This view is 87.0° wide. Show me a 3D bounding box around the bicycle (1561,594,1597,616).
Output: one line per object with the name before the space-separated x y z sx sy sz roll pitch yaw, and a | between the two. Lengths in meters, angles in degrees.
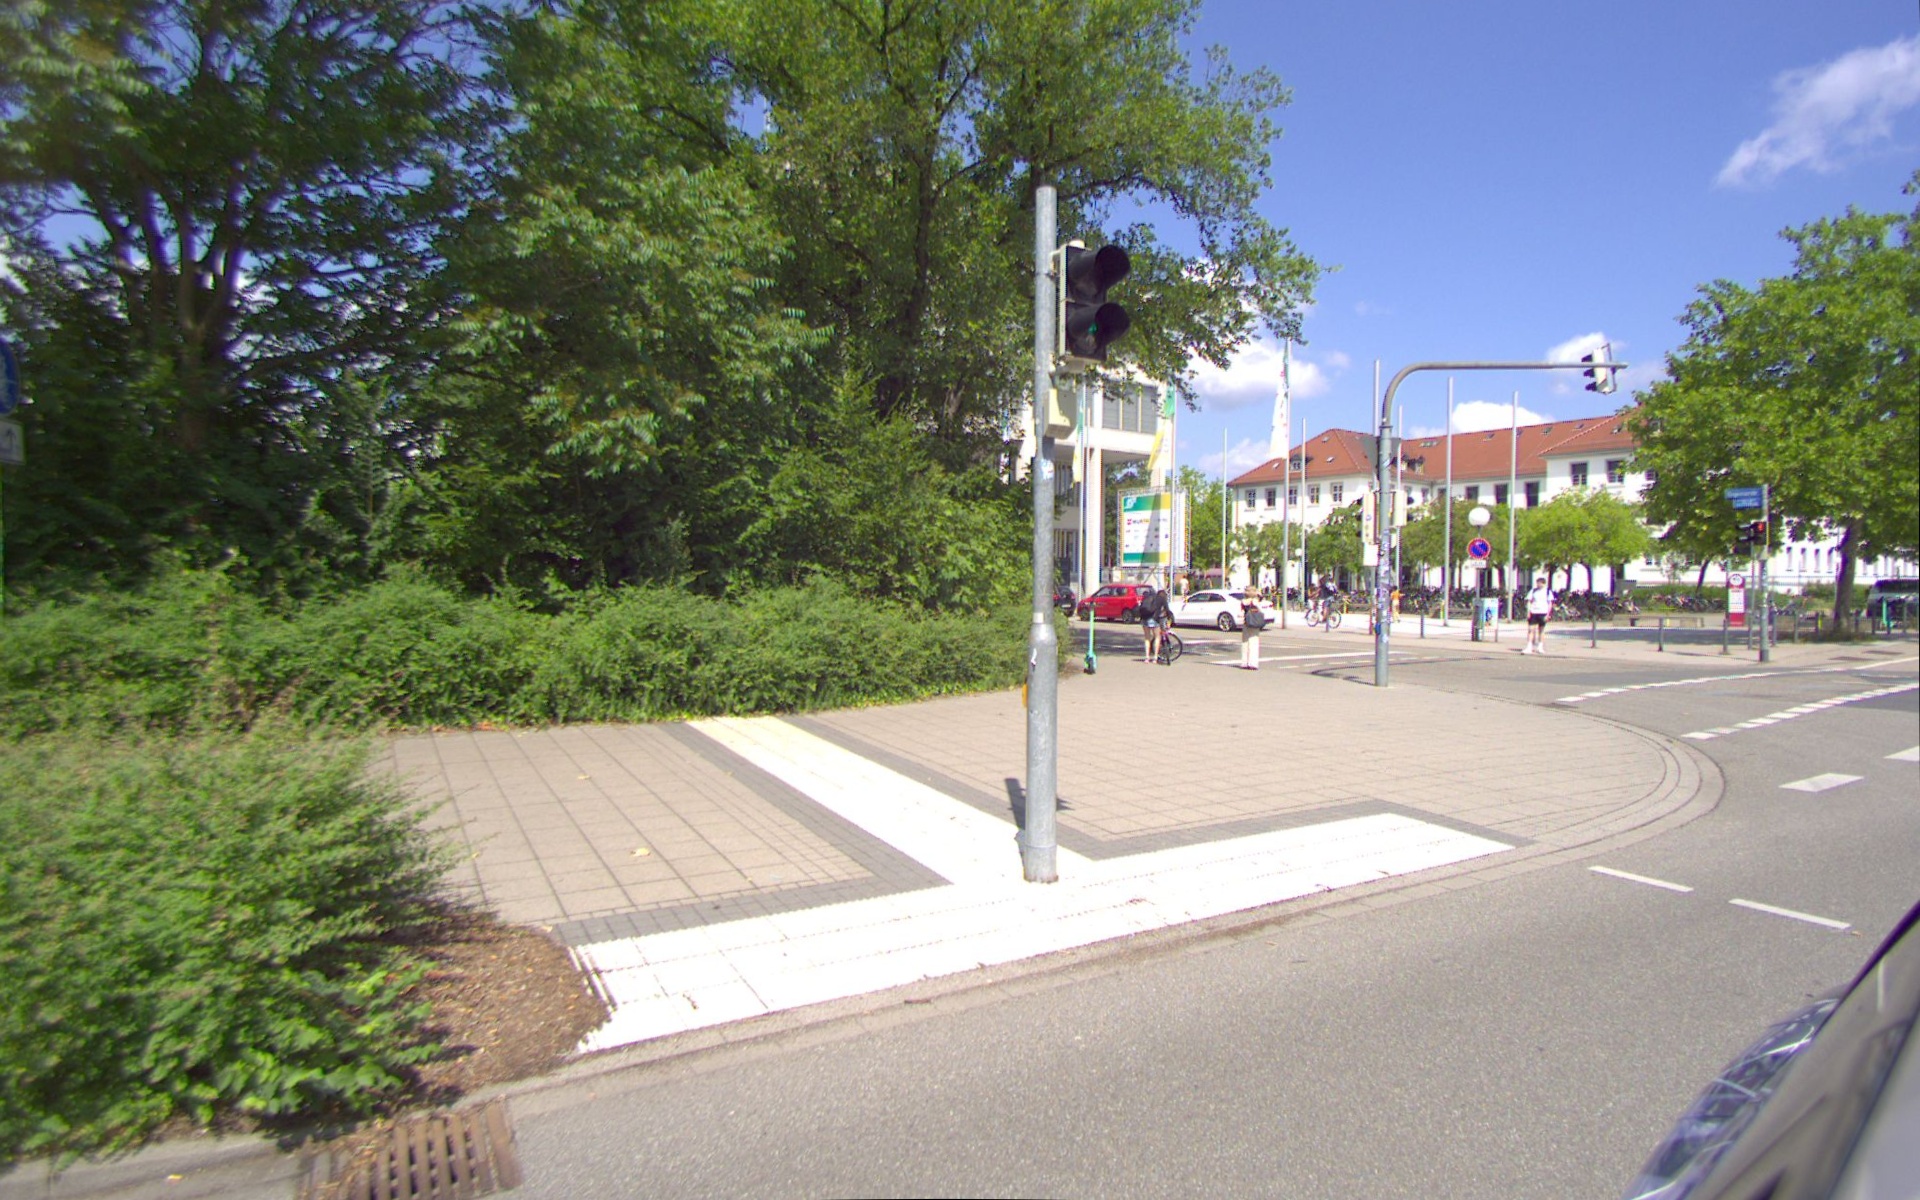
bicycle | 27.847 0.222 45.544 0.345 0.963 1.371 0 1 -37

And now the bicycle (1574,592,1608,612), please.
bicycle | 31.027 0.108 49.770 0.345 0.963 1.412 0 1 -37

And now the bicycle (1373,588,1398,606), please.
bicycle | 23.517 -0.165 55.953 0.345 0.963 1.374 0 1 -28

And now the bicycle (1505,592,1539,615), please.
bicycle | 26.195 0.152 47.166 0.345 1.013 1.371 0 1 -37

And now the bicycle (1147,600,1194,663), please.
bicycle | 4.133 0.597 19.987 0.660 1.157 1.661 3 0 4

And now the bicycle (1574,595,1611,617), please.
bicycle | 28.513 0.262 45.610 0.345 0.963 1.371 0 1 -37

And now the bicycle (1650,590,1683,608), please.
bicycle | 38.546 -0.048 55.219 0.345 0.963 1.428 0 1 -37

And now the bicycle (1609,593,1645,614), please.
bicycle | 31.852 0.141 48.333 0.345 0.963 1.371 0 1 -37

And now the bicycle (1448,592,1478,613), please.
bicycle | 24.523 0.117 49.379 0.345 0.963 1.374 0 1 -28

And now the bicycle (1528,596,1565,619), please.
bicycle | 25.910 0.314 44.718 0.345 0.963 1.371 0 1 -37

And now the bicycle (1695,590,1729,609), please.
bicycle | 39.941 -0.015 53.761 0.345 0.963 1.428 0 1 -37

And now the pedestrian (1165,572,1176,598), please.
pedestrian | 15.733 -1.149 75.582 0.668 1.926 0.796 0 1 24

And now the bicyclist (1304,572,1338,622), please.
bicyclist | 13.753 -0.124 38.544 0.670 1.877 1.090 0 1 -20

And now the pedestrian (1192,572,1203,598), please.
pedestrian | 17.571 -1.129 74.753 0.668 1.926 0.796 0 1 24

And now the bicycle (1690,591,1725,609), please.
bicycle | 39.461 -0.006 53.454 0.345 0.963 1.428 0 1 -37

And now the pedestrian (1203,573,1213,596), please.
pedestrian | 21.114 -1.342 86.172 0.668 1.926 0.796 0 1 24

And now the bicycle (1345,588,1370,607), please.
bicycle | 21.129 -0.129 53.818 0.345 0.963 1.374 0 1 -28

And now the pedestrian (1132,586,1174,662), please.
pedestrian | 3.802 0.448 19.938 0.644 1.435 0.787 3 1 4

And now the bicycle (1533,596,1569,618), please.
bicycle | 26.323 0.312 45.109 0.345 0.958 1.371 0 1 -37

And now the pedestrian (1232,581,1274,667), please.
pedestrian | 5.657 0.449 19.571 0.634 1.647 0.635 0 0 4

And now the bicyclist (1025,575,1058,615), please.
bicyclist | 2.583 -0.159 31.978 0.830 1.241 0.609 1 1 42

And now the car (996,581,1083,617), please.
car | 3.414 -0.080 44.091 1.709 1.465 3.931 0 1 -34

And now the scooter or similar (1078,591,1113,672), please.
scooter or similar | 2.207 0.487 16.561 0.429 1.249 1.229 2 1 4

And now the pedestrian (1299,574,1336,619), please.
pedestrian | 15.259 -0.146 43.176 0.687 1.872 1.322 0 -1 -34

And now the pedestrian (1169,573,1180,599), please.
pedestrian | 16.019 -1.064 75.636 0.668 1.926 0.796 0 1 24

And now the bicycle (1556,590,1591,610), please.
bicycle | 29.650 -0.002 48.906 0.345 0.963 1.412 0 1 -37

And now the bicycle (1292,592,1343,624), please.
bicycle | 13.673 0.285 38.725 0.676 1.148 2.058 0 1 -20

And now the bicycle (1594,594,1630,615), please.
bicycle | 30.441 0.205 47.260 0.345 0.963 1.371 0 1 -37

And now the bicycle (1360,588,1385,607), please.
bicycle | 22.155 -0.142 54.374 0.345 0.963 1.374 0 1 -28

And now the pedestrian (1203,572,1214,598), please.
pedestrian | 18.514 -1.119 75.260 0.668 1.926 0.796 0 1 24

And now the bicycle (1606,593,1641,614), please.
bicycle | 31.475 0.150 48.027 0.345 0.963 1.371 0 1 -37

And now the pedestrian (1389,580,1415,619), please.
pedestrian | 19.032 -0.032 43.598 0.670 1.642 0.836 0 1 -8

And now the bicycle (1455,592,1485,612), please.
bicycle | 25.001 0.093 49.650 0.345 0.963 1.374 0 1 -28

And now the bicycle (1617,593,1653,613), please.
bicycle | 32.333 0.136 48.499 0.345 0.963 1.371 0 1 -37

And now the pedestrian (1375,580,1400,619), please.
pedestrian | 18.287 -0.030 43.320 0.671 1.642 0.836 0 1 -6

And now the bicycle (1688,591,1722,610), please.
bicycle | 39.110 0.003 53.143 0.345 0.963 1.428 0 1 -37

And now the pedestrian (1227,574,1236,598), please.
pedestrian | 17.550 -0.920 65.492 0.464 1.555 0.561 0 1 5

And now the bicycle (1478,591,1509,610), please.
bicycle | 27.528 0.039 52.251 0.346 0.963 1.370 0 1 -40

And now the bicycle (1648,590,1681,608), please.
bicycle | 38.234 -0.041 54.955 0.345 0.963 1.428 0 1 -37

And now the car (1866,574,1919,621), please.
car | 43.426 -0.139 46.574 4.154 2.080 1.997 0 1 -40

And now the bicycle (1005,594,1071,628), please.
bicycle | 2.442 0.330 32.014 2.155 1.011 0.638 1 1 42

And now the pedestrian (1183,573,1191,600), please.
pedestrian | 14.820 -0.895 66.011 0.468 1.735 0.379 0 1 25

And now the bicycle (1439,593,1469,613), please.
bicycle | 24.066 0.143 49.305 0.345 0.963 1.374 0 1 -28

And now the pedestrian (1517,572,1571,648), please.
pedestrian | 14.911 0.240 25.858 0.954 1.896 0.879 0 0 -36

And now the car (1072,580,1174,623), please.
car | 6.360 0.015 39.724 1.740 1.576 3.816 0 1 -37

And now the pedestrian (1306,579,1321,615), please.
pedestrian | 15.882 -0.136 45.525 0.529 1.610 0.435 1 0 5

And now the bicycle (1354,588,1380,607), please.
bicycle | 21.742 -0.141 54.081 0.345 0.963 1.374 0 1 -28

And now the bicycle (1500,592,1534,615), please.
bicycle | 25.791 0.168 46.873 0.345 1.013 1.371 0 1 -37

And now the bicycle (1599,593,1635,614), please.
bicycle | 30.943 0.176 47.660 0.345 0.963 1.371 0 1 -37

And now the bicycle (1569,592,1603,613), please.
bicycle | 30.592 0.117 49.467 0.345 0.963 1.412 0 1 -37

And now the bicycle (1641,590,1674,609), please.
bicycle | 37.650 -0.032 54.655 0.345 0.963 1.428 0 1 -37

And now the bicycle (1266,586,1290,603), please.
bicycle | 18.466 -0.314 58.808 0.346 0.963 1.369 0 1 -43

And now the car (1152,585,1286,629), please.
car | 9.011 0.196 35.515 1.800 1.415 4.441 0 1 -36

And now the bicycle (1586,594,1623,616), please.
bicycle | 29.178 0.232 45.852 0.345 0.963 1.371 0 1 -37
